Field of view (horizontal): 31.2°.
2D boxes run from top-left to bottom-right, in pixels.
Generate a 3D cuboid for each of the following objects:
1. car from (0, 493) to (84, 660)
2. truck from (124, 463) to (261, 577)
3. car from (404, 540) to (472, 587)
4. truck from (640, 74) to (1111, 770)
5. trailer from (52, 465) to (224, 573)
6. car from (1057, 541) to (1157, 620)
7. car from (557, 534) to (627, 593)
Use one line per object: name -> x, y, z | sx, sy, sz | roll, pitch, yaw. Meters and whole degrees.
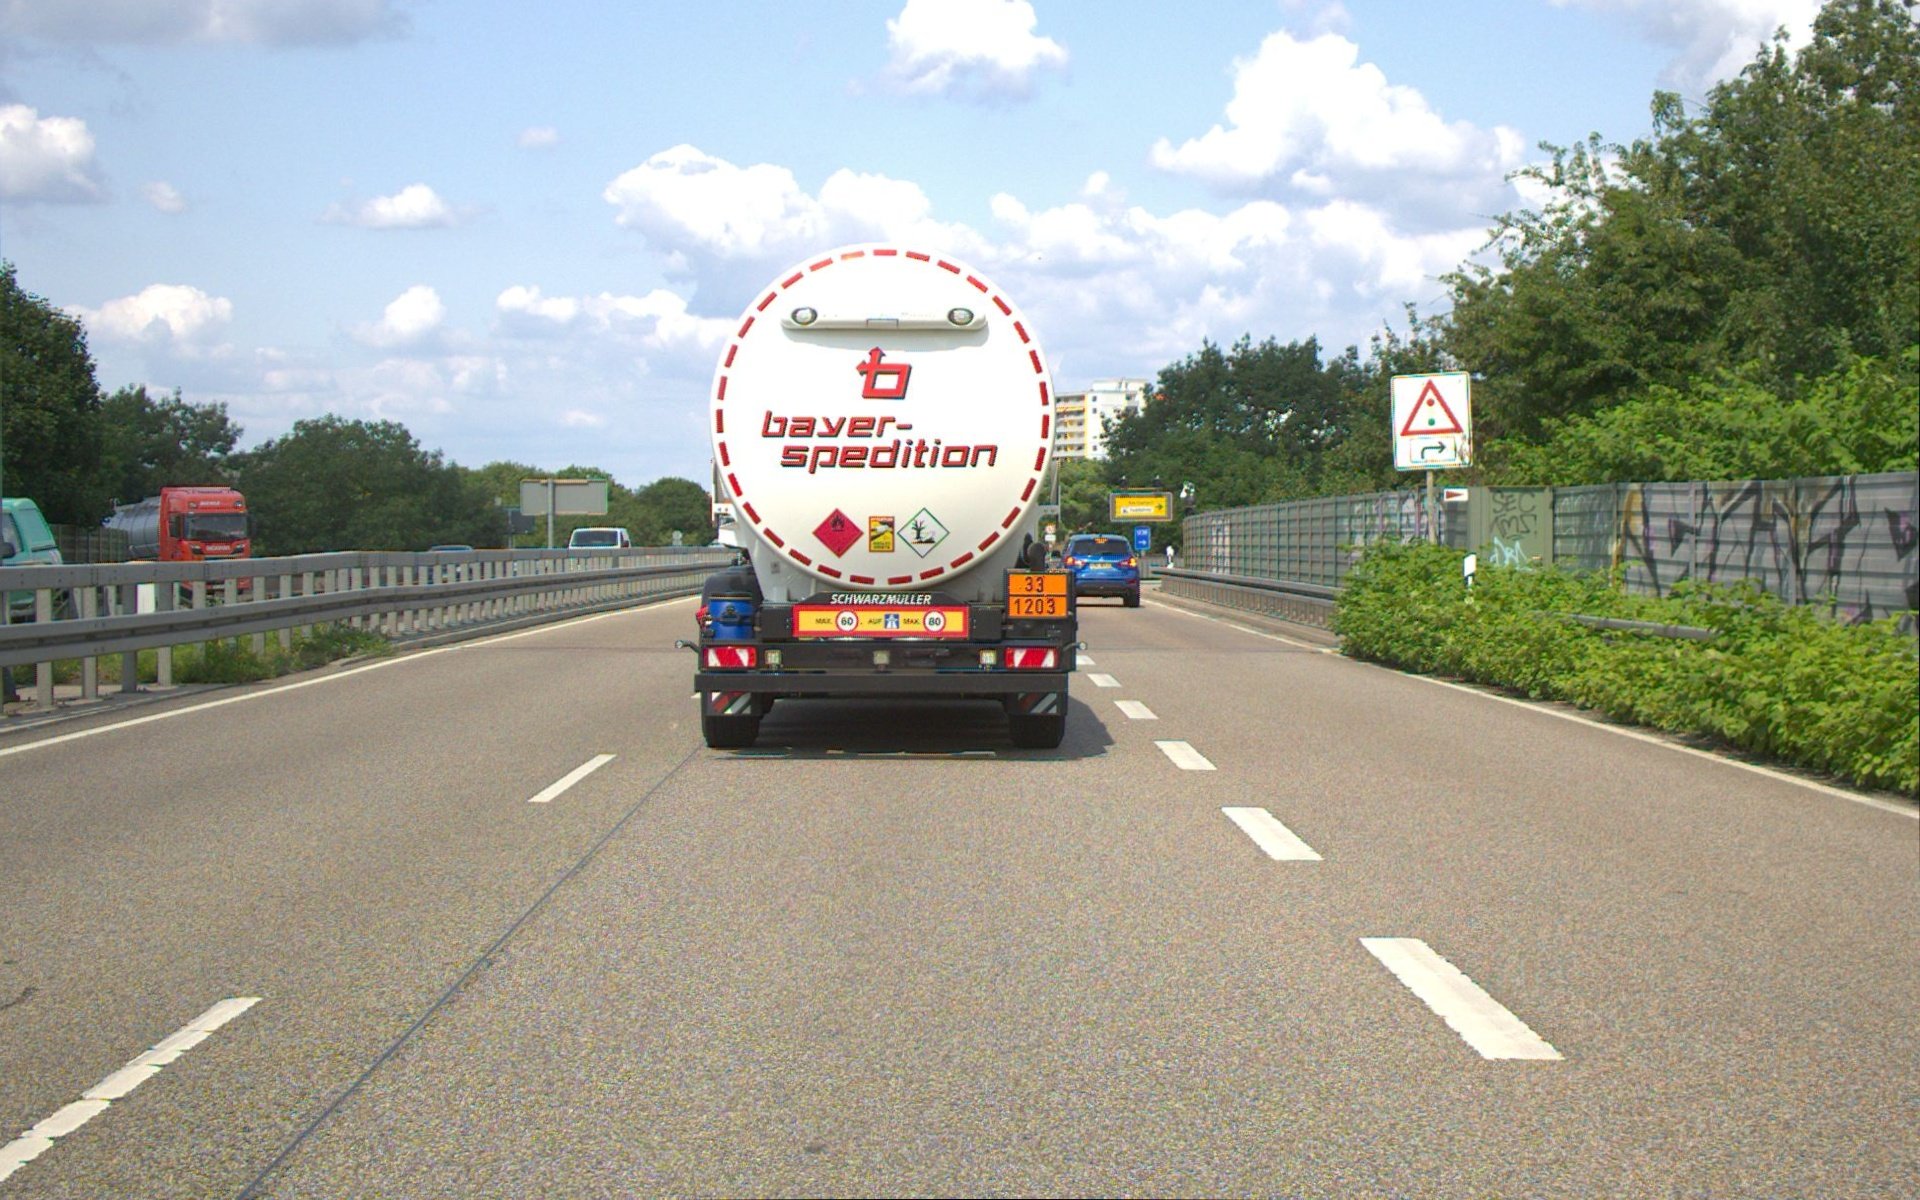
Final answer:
car -> -11.672, -0.291, 39.270 | 1.993, 1.857, 5.393 | 1, 1, -1
truck -> -26.446, -2.747, 118.319 | 2.648, 3.769, 6.233 | 1, 1, -32
car -> -16.765, -1.174, 110.607 | 1.688, 1.426, 4.403 | 1, 1, -3
truck -> -0.572, -1.174, 25.836 | 2.895, 4.354, 8.030 | 1, 1, 0
trailer -> -29.675, -2.905, 123.676 | 2.684, 3.657, 11.029 | 1, 1, -31
car -> 3.285, -0.456, 77.490 | 1.993, 1.700, 4.000 | 1, 1, 0
car -> -12.731, -1.271, 119.187 | 2.079, 1.982, 5.230 | 1, 1, -3
